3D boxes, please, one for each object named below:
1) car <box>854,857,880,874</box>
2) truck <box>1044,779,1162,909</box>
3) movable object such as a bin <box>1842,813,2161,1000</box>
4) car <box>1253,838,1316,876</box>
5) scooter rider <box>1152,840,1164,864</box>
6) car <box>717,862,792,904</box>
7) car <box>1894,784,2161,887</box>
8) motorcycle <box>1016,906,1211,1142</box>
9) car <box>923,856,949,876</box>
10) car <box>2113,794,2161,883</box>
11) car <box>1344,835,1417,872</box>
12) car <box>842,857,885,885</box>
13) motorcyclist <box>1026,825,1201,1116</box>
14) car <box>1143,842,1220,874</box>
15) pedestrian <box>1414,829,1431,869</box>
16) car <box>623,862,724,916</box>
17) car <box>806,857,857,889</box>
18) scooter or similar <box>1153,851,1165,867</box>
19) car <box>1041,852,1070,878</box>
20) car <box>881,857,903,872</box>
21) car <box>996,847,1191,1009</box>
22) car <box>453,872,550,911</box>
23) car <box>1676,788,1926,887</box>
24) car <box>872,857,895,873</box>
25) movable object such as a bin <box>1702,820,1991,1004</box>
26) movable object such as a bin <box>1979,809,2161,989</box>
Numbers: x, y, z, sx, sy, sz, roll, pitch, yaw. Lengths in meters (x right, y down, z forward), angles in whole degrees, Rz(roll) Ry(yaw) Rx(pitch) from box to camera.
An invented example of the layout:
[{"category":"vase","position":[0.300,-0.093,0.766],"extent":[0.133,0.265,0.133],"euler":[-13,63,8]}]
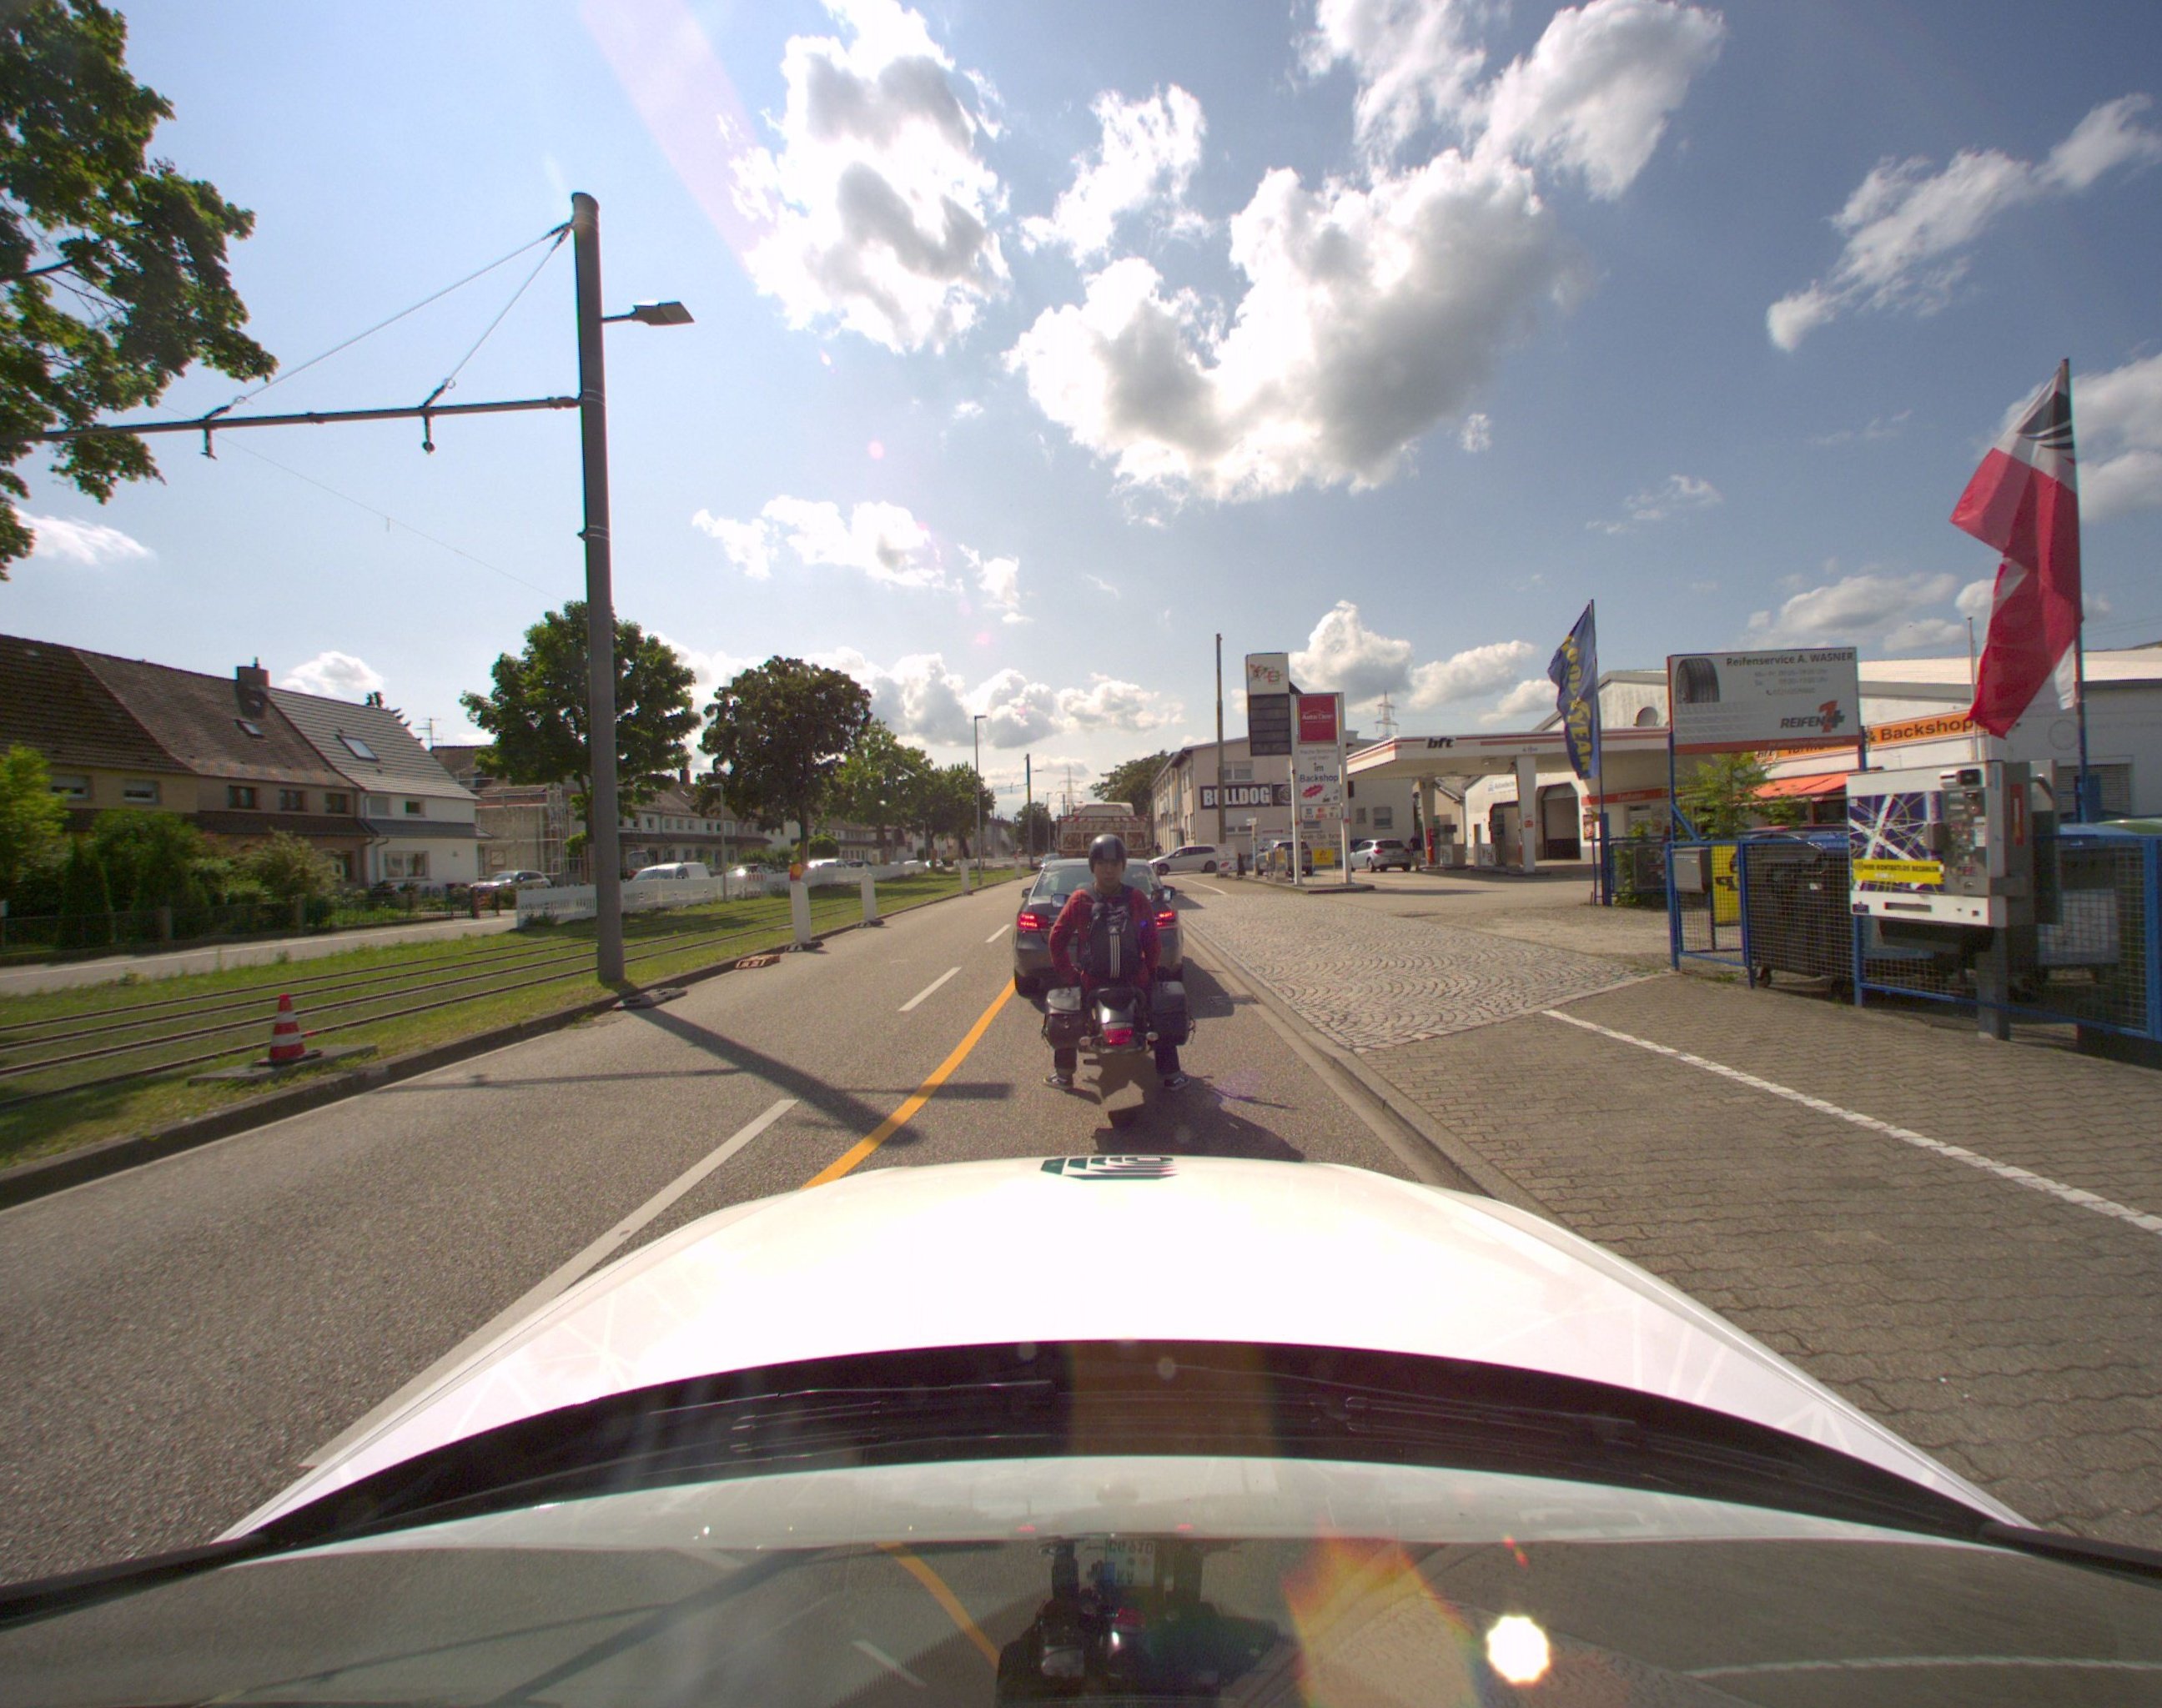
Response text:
[{"category":"car","position":[-24.471,1.301,93.132],"extent":[1.692,1.739,4.064],"euler":[-2,0,2]},{"category":"truck","position":[0.645,-0.281,25.601],"extent":[2.960,3.304,8.407],"euler":[-2,0,1]},{"category":"movable object such as a bin","position":[8.109,0.416,7.278],"extent":[1.222,1.454,1.455],"euler":[-2,0,0]},{"category":"car","position":[9.070,0.122,36.574],"extent":[1.826,1.536,4.009],"euler":[-3,0,1]},{"category":"scooter rider","position":[5.837,-0.140,61.453],"extent":[0.792,1.818,0.508],"euler":[-2,0,1]},{"category":"car","position":[-15.324,1.325,38.481],"extent":[1.692,1.739,4.056],"euler":[-2,0,2]},{"category":"car","position":[21.253,-0.401,18.269],"extent":[3.972,2.013,2.001],"euler":[-2,0,1]},{"category":"motorcycle","position":[0.201,0.933,5.310],"extent":[0.972,1.013,2.433],"euler":[-1,0,2]},{"category":"car","position":[-14.211,1.154,79.866],"extent":[1.692,1.739,3.862],"euler":[-2,0,2]},{"category":"car","position":[26.356,-0.434,18.185],"extent":[3.972,2.013,2.001],"euler":[-2,0,1]},{"category":"car","position":[13.540,-0.024,37.067],"extent":[1.826,1.479,4.009],"euler":[-3,0,1]},{"category":"car","position":[-14.869,1.140,55.752],"extent":[1.692,1.739,3.862],"euler":[-2,0,2]},{"category":"motorcyclist","position":[0.200,0.654,5.192],"extent":[0.966,1.633,1.215],"euler":[-1,0,1]},{"category":"car","position":[5.766,0.227,47.046],"extent":[4.101,1.624,1.682],"euler":[-3,0,-7]},{"category":"pedestrian","position":[14.843,-0.210,35.387],"extent":[0.628,1.683,0.626],"euler":[-2,0,23]},{"category":"car","position":[-15.416,1.279,31.051],"extent":[1.692,1.817,3.862],"euler":[-2,0,2]},{"category":"car","position":[-15.081,1.112,49.386],"extent":[1.692,1.739,3.862],"euler":[-2,0,2]},{"category":"scooter or similar","position":[5.860,0.382,61.375],"extent":[0.792,1.144,1.520],"euler":[-2,0,2]},{"category":"car","position":[-1.692,0.692,55.323],"extent":[1.674,1.624,4.120],"euler":[-2,0,1]},{"category":"car","position":[-24.386,1.343,105.358],"extent":[1.692,1.739,4.064],"euler":[-2,0,2]},{"category":"car","position":[0.149,0.707,9.881],"extent":[1.826,1.479,4.009],"euler":[-3,0,1]},{"category":"car","position":[-27.478,1.732,38.786],"extent":[1.692,1.593,3.862],"euler":[-2,0,2]},{"category":"car","position":[16.606,-0.372,18.960],"extent":[3.972,2.013,2.001],"euler":[-2,0,1]},{"category":"car","position":[-24.056,1.335,99.334],"extent":[1.692,1.739,4.064],"euler":[-2,0,2]},{"category":"movable object such as a bin","position":[6.830,0.470,7.402],"extent":[1.222,1.454,1.455],"euler":[-2,0,0]},{"category":"movable object such as a bin","position":[9.455,0.335,7.188],"extent":[1.425,1.454,1.455],"euler":[-2,0,0]}]
